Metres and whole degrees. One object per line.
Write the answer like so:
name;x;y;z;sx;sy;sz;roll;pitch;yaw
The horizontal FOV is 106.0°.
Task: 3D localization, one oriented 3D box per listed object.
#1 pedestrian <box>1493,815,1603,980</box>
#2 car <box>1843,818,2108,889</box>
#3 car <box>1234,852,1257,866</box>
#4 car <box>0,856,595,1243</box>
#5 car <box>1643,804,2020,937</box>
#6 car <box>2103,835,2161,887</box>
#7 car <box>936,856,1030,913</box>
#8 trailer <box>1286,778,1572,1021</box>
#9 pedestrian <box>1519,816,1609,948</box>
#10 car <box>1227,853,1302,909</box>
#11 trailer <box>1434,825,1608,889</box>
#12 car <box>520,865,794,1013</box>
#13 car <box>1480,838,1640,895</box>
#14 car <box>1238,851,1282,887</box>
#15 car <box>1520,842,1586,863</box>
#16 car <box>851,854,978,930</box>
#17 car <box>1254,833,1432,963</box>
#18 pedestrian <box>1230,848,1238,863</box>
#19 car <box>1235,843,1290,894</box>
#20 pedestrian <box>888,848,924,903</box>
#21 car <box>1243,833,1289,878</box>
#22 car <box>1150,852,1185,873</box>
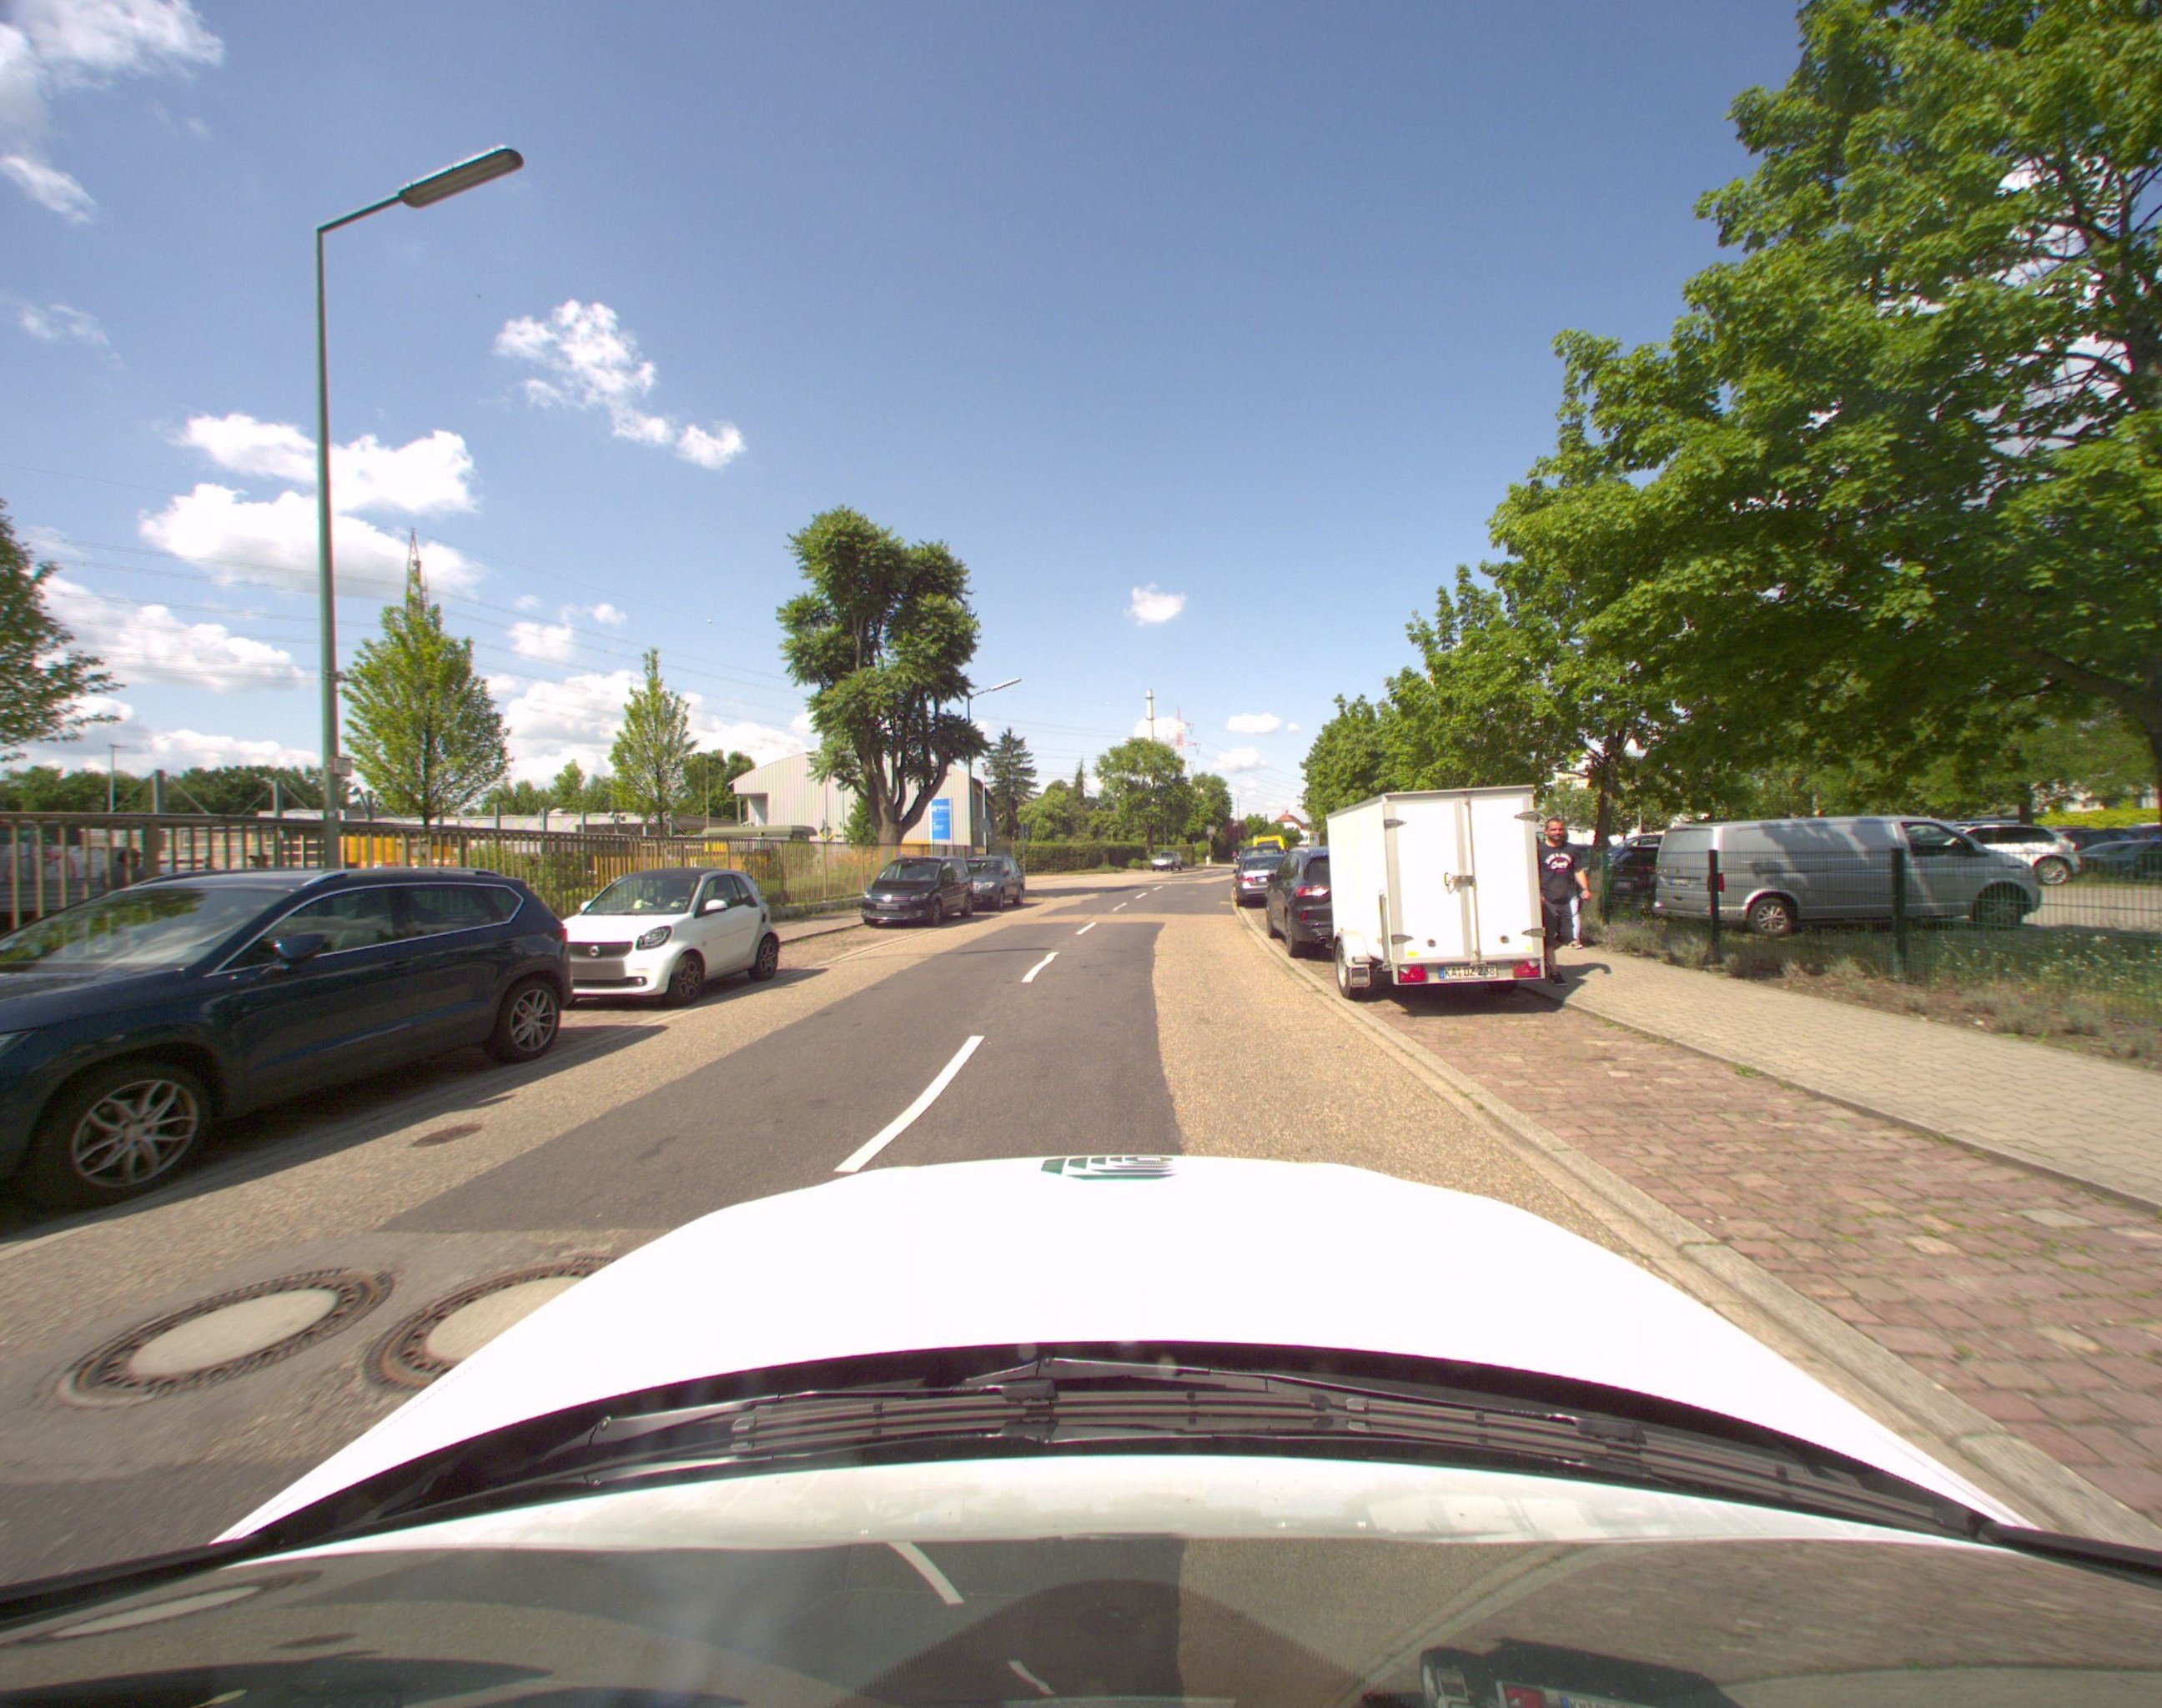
pedestrian;4.959;0.450;8.684;0.723;1.646;0.580;-5;0;3
car;24.803;-0.010;22.785;4.820;1.766;1.920;-2;1;10
car;18.952;0.589;93.768;1.829;1.508;4.022;1;1;23
car;-5.413;0.859;5.293;1.726;1.656;4.314;-1;0;3
car;12.711;0.280;14.094;4.445;1.966;2.003;-2;-1;6
car;30.683;0.133;21.752;3.961;1.374;1.863;-1;0;11
car;-2.997;0.897;25.981;1.789;1.651;4.701;0;0;8
trailer;3.615;0.419;9.302;1.737;2.067;3.953;-4;-1;5
pedestrian;6.500;0.364;10.994;0.718;1.693;0.740;-3;-1;4
car;5.515;0.749;24.980;1.831;1.460;4.880;-3;-1;9
trailer;15.499;0.116;28.953;5.017;2.082;2.066;-2;-1;9
car;-5.062;0.930;10.206;1.601;1.523;3.079;-1;0;5
car;14.875;0.388;25.484;3.963;1.636;1.698;-2;0;9
car;8.342;0.654;38.318;1.821;1.492;4.670;-3;-1;11
car;33.726;-0.106;58.337;3.966;1.396;1.855;-2;0;27
car;-4.000;0.850;20.360;1.765;1.682;4.240;0;0;8
car;4.099;0.614;13.586;1.851;1.682;4.719;-4;-1;7
pedestrian;18.678;0.177;99.602;0.701;1.801;0.921;-2;-1;23
car;7.073;0.533;32.007;1.838;1.765;5.093;-4;-1;11
pedestrian;-5.668;0.680;26.401;0.822;1.761;0.848;0;0;14
car;11.420;0.114;49.913;2.140;2.465;6.669;-3;-1;17
car;7.070;0.668;66.194;1.743;1.574;4.499;-1;0;20
